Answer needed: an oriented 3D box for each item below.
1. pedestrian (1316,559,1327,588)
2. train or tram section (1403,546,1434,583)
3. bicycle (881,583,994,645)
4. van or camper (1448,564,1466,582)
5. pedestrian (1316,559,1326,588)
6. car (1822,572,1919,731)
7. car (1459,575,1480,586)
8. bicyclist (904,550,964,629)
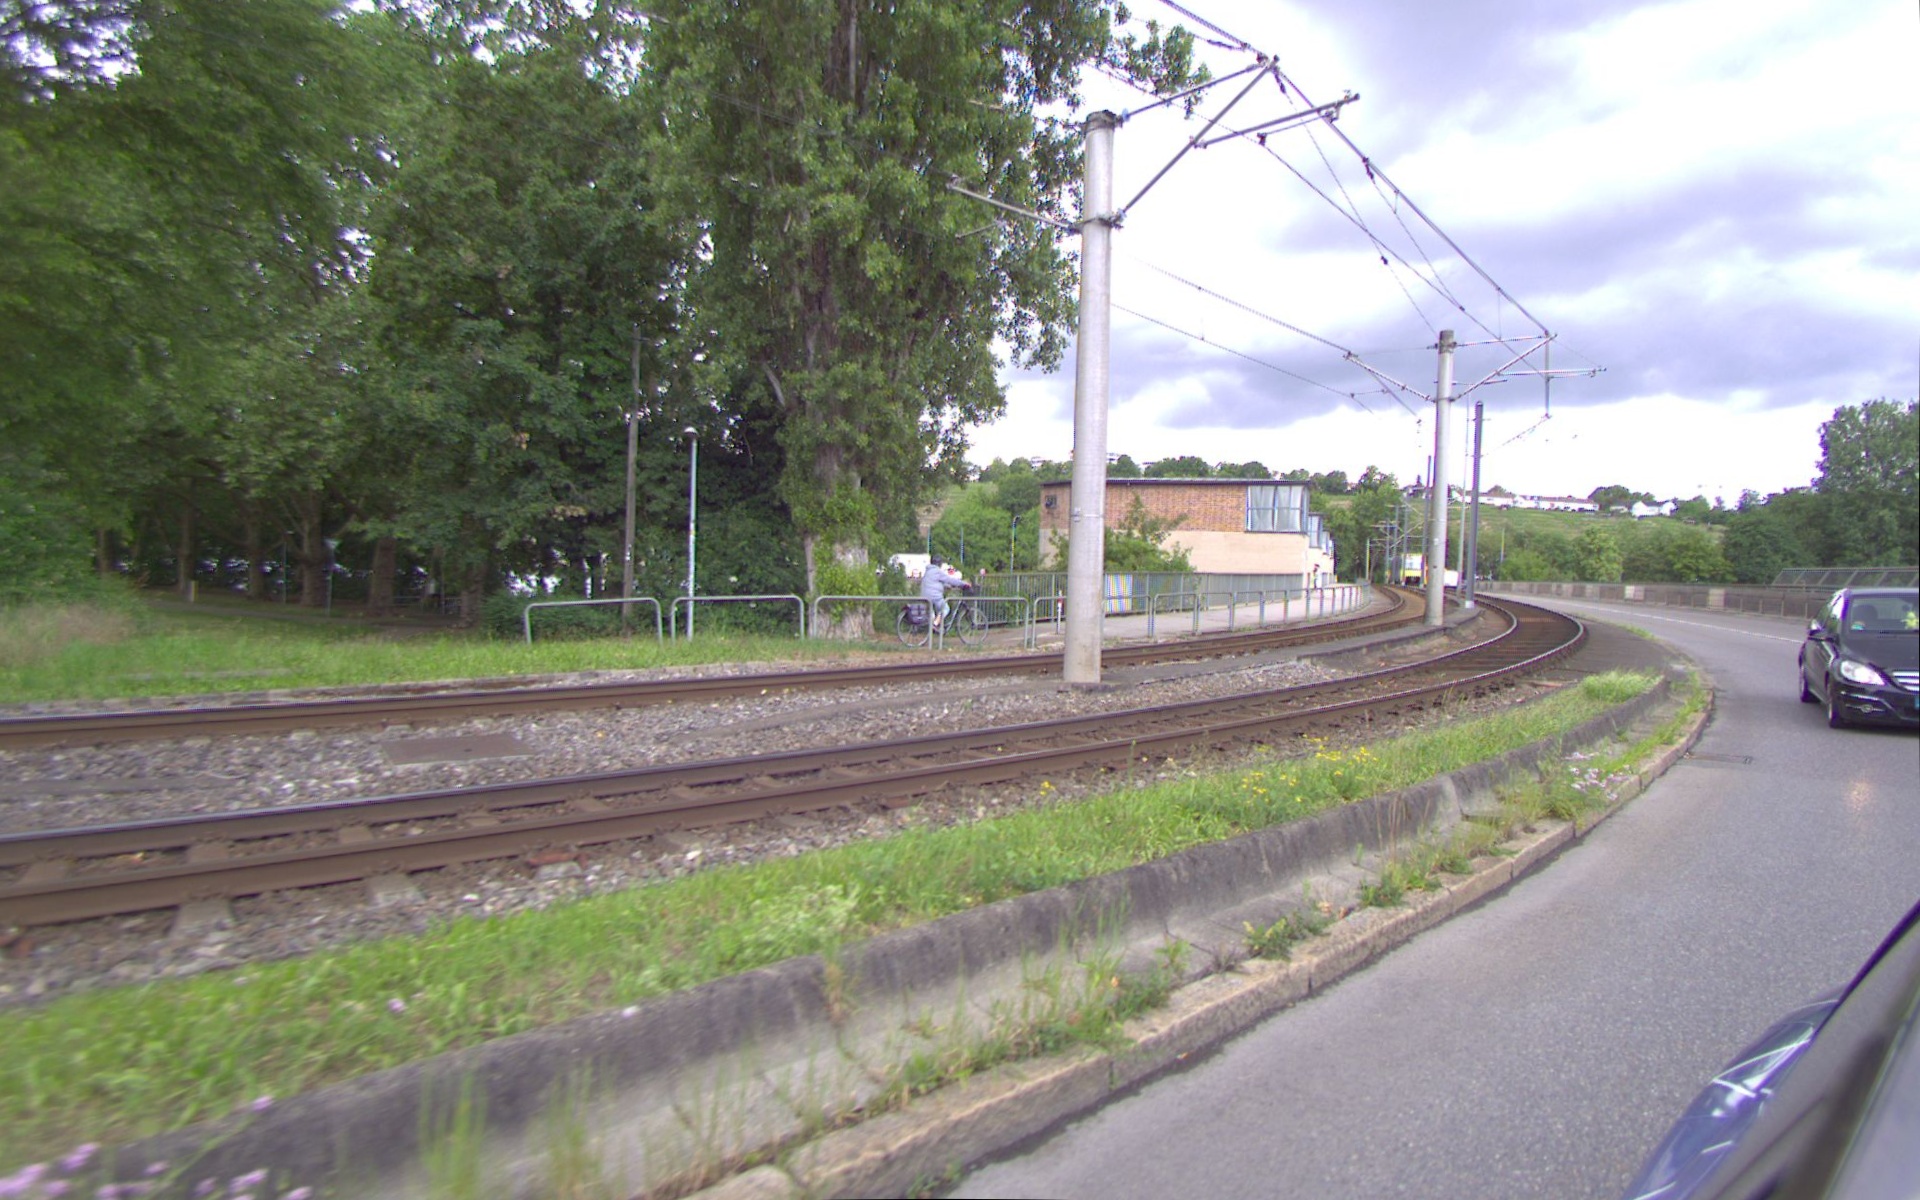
[{"bbox_3d":[21.424,-1.565,59.968,0.505,1.685,0.350,2,2,18],"label":"pedestrian"},{"bbox_3d":[51.576,-3.989,113.964,3.000,3.966,9.367,2,3,24],"label":"train or tram section"},{"bbox_3d":[-0.384,0.238,18.007,2.038,1.063,0.428,0,0,-29],"label":"bicycle"},{"bbox_3d":[71.191,-3.875,145.086,2.135,2.506,4.671,1,2,25],"label":"van or camper"},{"bbox_3d":[21.541,-1.580,60.334,0.505,1.685,0.350,2,2,18],"label":"pedestrian"},{"bbox_3d":[11.372,0.502,11.899,1.854,1.642,3.942,1,2,40],"label":"car"},{"bbox_3d":[79.111,-3.087,157.146,1.991,1.593,3.944,2,3,39],"label":"car"},{"bbox_3d":[-0.466,-0.188,17.989,0.892,1.377,0.596,1,0,-28],"label":"bicyclist"}]
